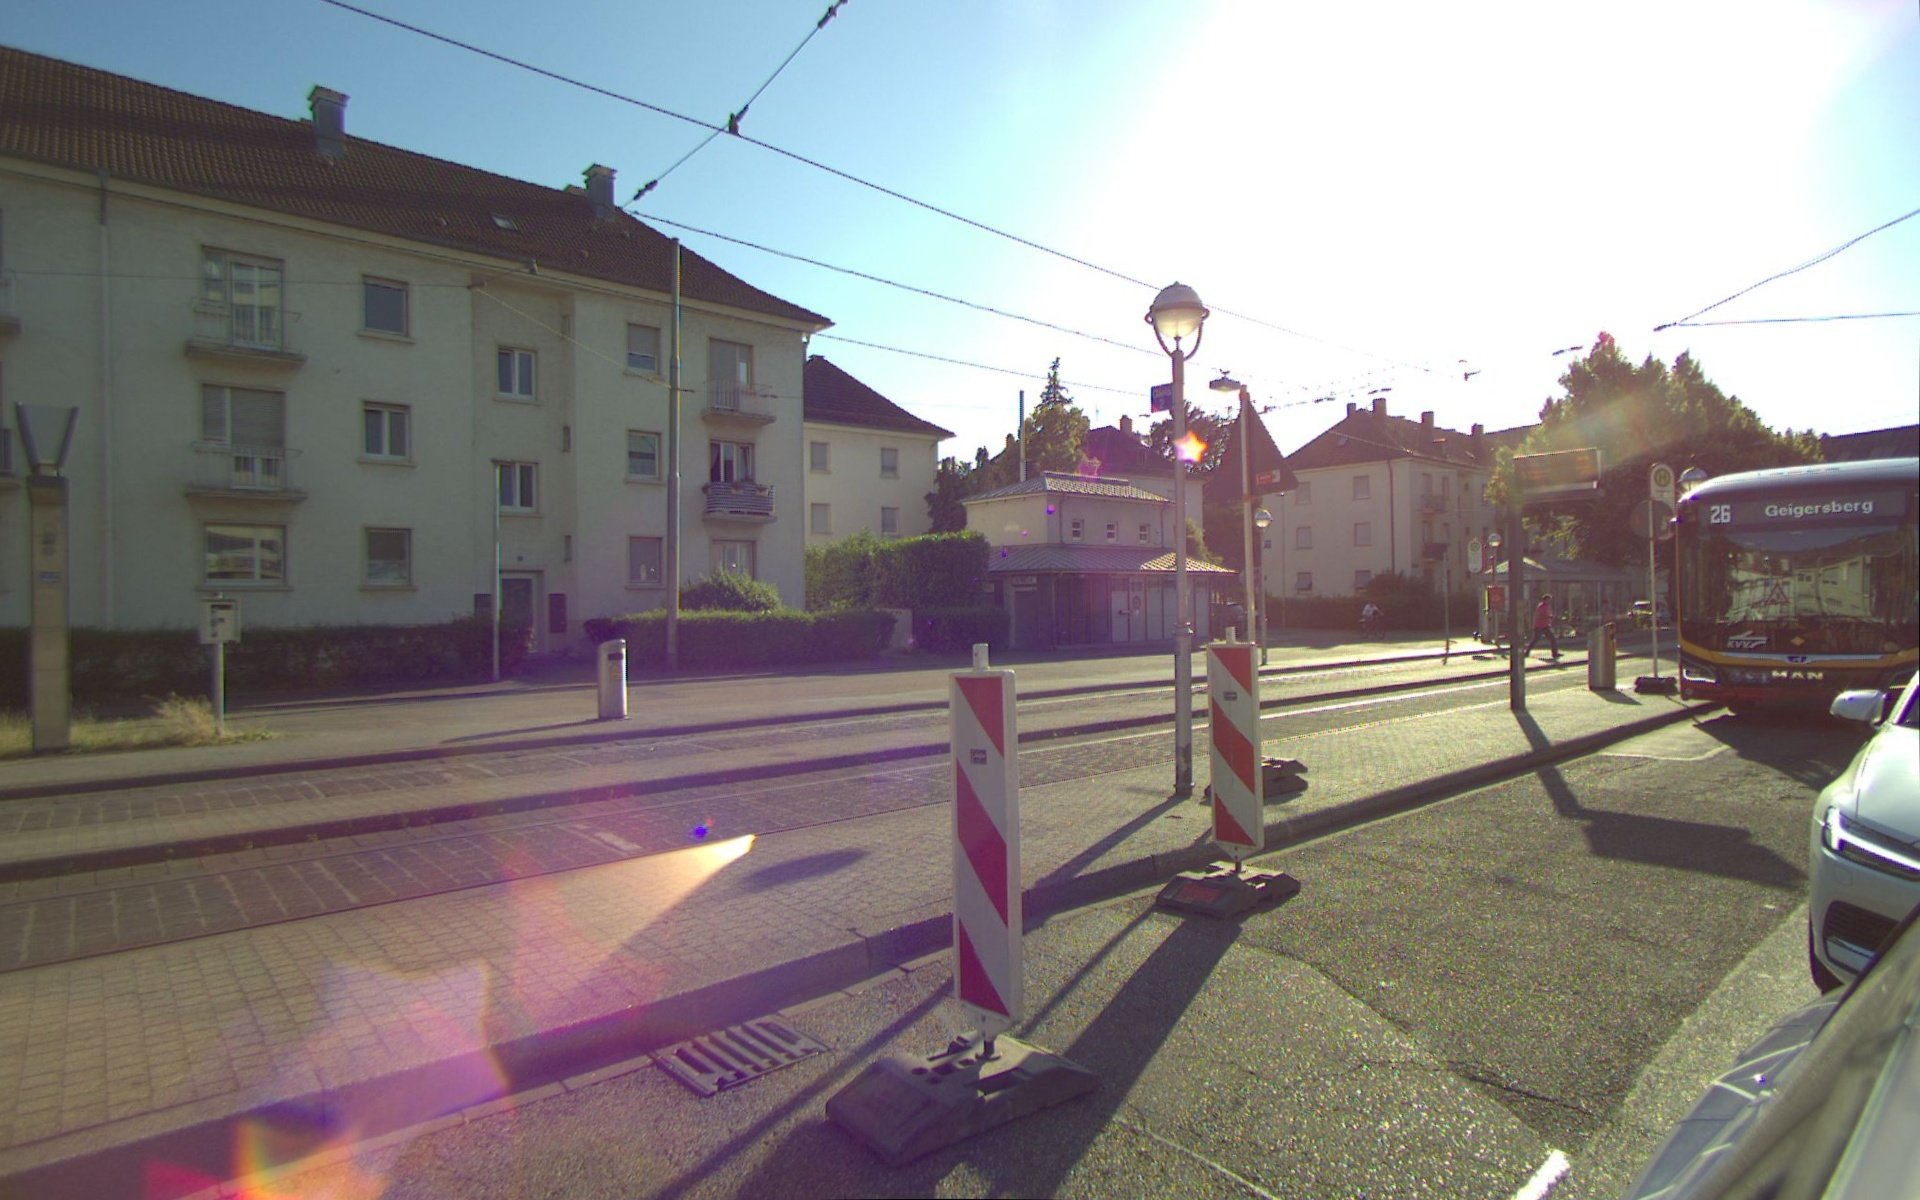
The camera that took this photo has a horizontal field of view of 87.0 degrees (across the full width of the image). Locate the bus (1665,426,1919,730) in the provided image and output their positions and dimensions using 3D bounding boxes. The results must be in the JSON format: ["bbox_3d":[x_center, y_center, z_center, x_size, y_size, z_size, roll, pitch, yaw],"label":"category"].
[{"bbox_3d":[14.322,-0.266,15.850,11.824,3.345,2.745,0,0,-42],"label":"bus"}]

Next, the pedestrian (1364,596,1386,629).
[{"bbox_3d":[17.376,0.518,42.338,0.568,1.398,0.660,0,0,-12],"label":"pedestrian"}]

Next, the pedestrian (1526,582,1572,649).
[{"bbox_3d":[15.494,0.394,26.638,0.811,1.740,0.841,0,0,-43],"label":"pedestrian"}]

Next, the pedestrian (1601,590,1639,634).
[{"bbox_3d":[24.595,0.431,37.715,0.808,1.631,0.844,0,0,-22],"label":"pedestrian"}]

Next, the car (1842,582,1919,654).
[{"bbox_3d":[21.230,0.357,22.368,4.740,1.477,1.968,0,0,-41],"label":"car"}]

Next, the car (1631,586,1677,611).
[{"bbox_3d":[53.783,-0.112,78.440,3.930,1.887,1.997,-1,0,-41],"label":"car"}]

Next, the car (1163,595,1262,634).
[{"bbox_3d":[11.589,0.681,46.671,1.964,1.694,4.050,-1,-1,-39],"label":"car"}]

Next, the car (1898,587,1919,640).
[{"bbox_3d":[28.789,0.366,29.234,4.740,1.477,1.968,0,0,-41],"label":"car"}]

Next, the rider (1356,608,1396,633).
[{"bbox_3d":[17.379,0.849,42.348,0.568,1.004,1.861,0,0,-12],"label":"rider"}]

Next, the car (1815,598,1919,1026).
[{"bbox_3d":[5.278,0.729,4.362,4.143,1.472,1.819,0,0,-41],"label":"car"}]
